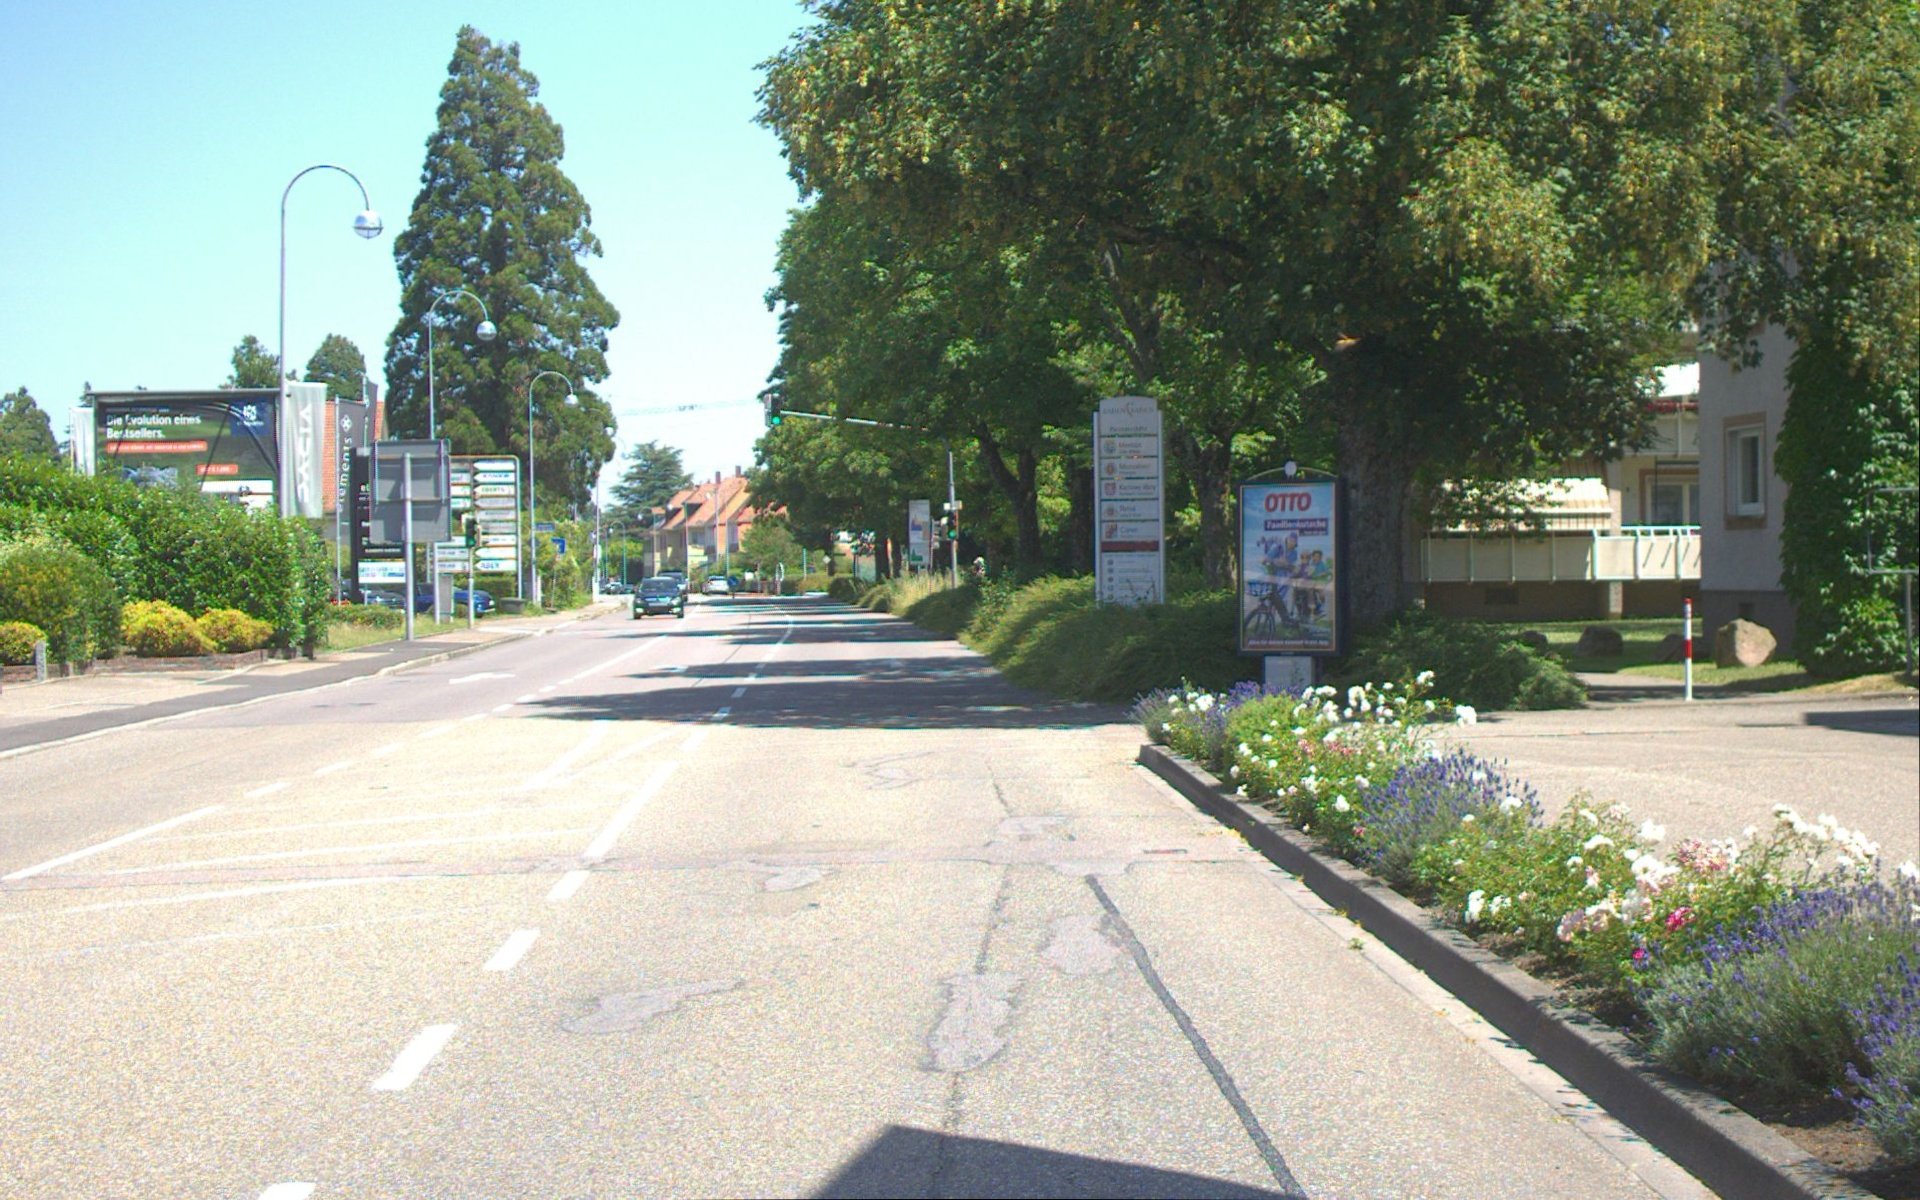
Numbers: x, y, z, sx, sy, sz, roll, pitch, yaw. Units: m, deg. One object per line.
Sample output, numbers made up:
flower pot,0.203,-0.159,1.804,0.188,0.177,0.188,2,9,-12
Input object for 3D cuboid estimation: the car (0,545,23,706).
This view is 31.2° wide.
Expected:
car,-13.392,0.323,40.800,4.093,1.891,2.000,-1,0,-6

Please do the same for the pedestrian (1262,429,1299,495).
pedestrian,6.682,-2.875,71.721,0.661,1.330,0.889,-1,0,-1

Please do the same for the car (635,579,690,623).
car,-10.549,0.017,122.075,1.710,1.490,4.278,-1,1,-2

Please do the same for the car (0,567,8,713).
car,-12.791,0.476,38.707,3.663,1.667,1.922,-1,0,-3

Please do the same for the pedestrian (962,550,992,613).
pedestrian,0.472,-0.520,96.255,0.614,1.745,0.561,-1,0,29
